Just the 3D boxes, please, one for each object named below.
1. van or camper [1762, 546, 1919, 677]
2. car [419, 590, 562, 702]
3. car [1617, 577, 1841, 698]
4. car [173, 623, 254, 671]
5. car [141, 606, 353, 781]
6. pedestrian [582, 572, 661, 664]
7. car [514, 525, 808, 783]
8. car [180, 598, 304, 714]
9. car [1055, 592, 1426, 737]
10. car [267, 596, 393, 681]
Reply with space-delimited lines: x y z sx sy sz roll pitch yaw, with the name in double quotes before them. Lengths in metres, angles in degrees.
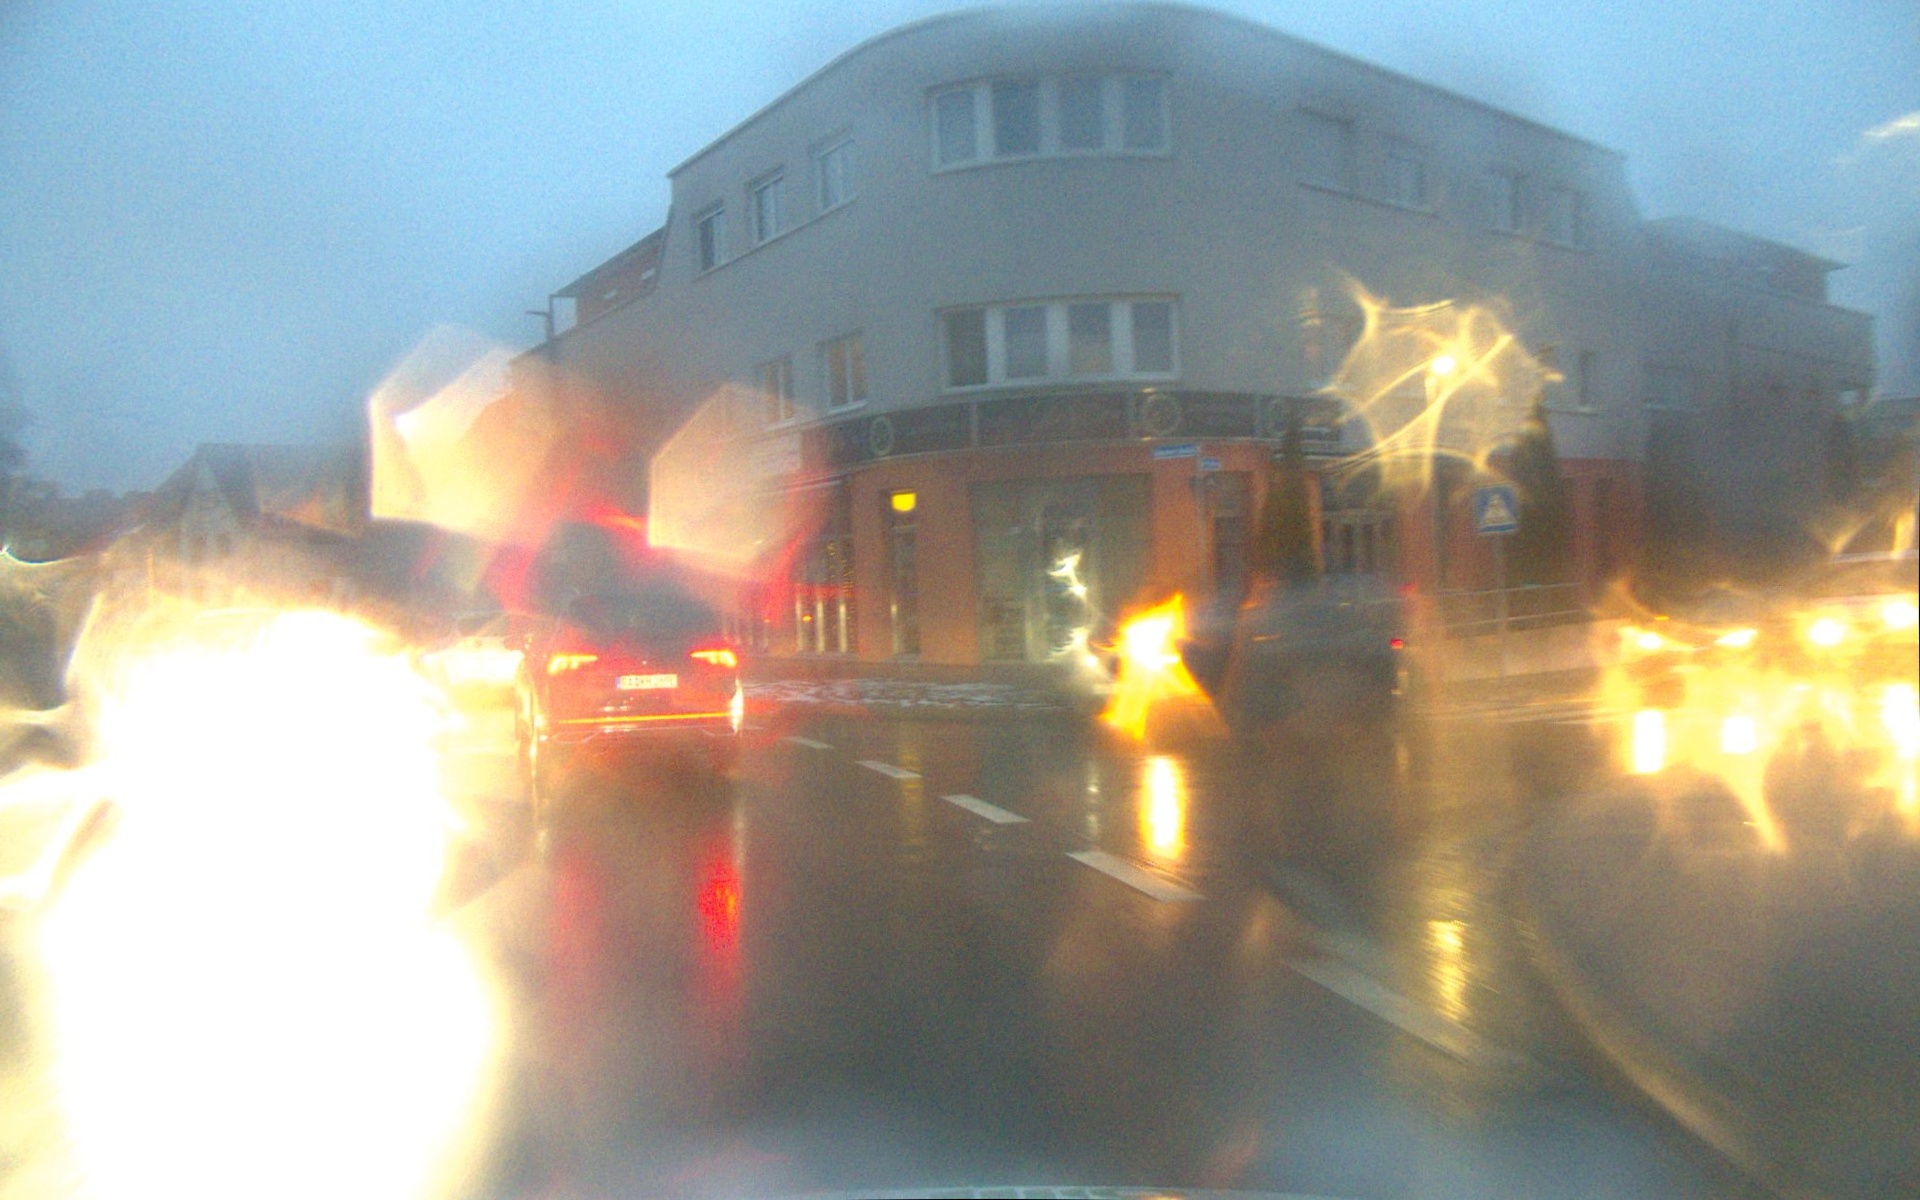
"van or camper" 19.602 0.129 34.014 9.112 2.372 2.417 -1 2 -43
"car" -7.936 0.722 27.731 1.832 1.676 3.972 -2 0 -23
"car" 12.642 0.593 27.096 4.099 1.819 2.014 0 -1 -44
"car" -23.470 1.444 51.951 1.824 1.354 3.895 -4 1 -31
"car" -7.217 0.865 17.066 1.638 1.512 3.978 -2 0 -19
"pedestrian" -7.467 0.394 36.440 1.242 1.898 1.290 -5 2 -30
"car" -3.077 0.437 15.992 2.272 1.972 4.997 -3 0 -16
"car" -12.311 0.889 28.338 1.749 1.753 4.388 -2 1 -24
"car" 3.258 0.657 18.920 4.133 1.466 1.777 0 1 -34
"car" -16.517 0.989 43.209 2.286 1.972 4.968 -3 0 -30
